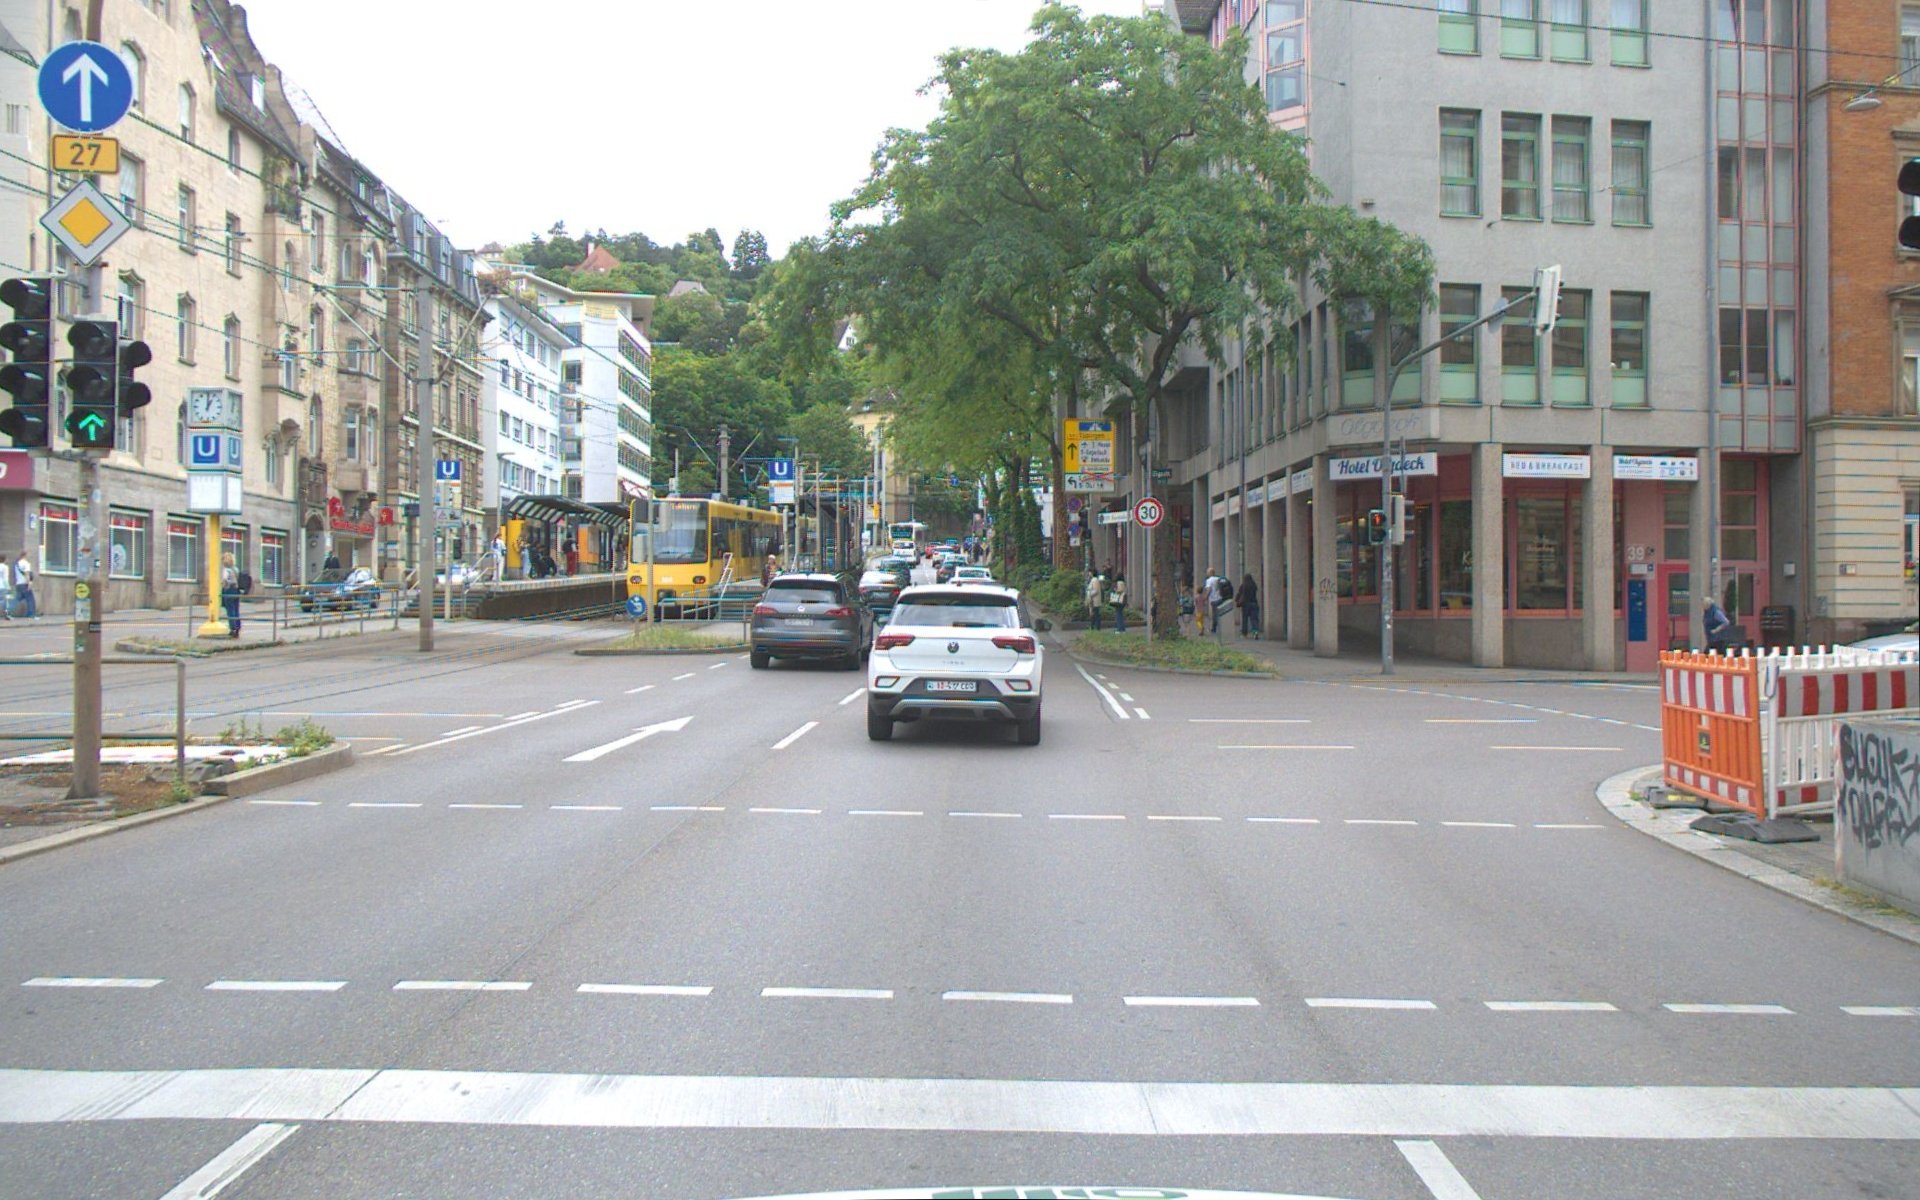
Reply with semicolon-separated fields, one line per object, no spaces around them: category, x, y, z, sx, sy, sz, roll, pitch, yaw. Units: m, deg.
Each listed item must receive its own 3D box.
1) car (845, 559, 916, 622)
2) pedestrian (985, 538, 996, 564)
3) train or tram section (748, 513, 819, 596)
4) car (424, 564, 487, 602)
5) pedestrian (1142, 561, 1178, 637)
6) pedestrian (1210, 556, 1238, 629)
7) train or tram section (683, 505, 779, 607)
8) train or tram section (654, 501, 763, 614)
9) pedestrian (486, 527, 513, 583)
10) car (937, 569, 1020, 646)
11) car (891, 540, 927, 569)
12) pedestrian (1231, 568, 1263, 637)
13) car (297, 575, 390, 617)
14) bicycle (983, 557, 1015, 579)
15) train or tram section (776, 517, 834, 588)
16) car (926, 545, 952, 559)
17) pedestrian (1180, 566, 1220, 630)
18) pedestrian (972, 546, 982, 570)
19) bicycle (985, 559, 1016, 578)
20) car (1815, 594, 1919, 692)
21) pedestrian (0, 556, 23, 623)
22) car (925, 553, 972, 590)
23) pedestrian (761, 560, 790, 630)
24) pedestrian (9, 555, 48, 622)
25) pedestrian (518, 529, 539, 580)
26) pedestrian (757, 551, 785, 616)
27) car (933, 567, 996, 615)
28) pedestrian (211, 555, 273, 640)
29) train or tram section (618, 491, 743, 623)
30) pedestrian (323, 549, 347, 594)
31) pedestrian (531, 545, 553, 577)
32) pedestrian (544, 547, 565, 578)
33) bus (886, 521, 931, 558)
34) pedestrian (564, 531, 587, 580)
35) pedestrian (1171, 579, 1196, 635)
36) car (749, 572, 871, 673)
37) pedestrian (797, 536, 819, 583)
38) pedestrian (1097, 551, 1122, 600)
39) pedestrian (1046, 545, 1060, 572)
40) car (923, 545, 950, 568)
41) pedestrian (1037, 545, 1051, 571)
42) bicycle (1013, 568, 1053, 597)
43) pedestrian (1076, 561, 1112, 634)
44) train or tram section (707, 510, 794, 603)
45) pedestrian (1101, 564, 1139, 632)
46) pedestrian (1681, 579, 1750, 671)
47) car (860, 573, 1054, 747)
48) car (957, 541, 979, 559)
car;-2.399;-0.328;50.609;1.872;1.718;4.002;2;2;1
pedestrian;2.414;-3.859;131.214;0.746;2.049;0.839;1;0;4
train or tram section;-8.388;-2.173;79.250;2.756;3.730;5.903;1;1;-1
car;-21.747;-0.716;71.404;1.527;1.550;3.600;1;0;1
pedestrian;4.998;-0.039;41.435;0.707;1.834;0.834;-2;3;-5
pedestrian;6.700;-0.190;41.978;0.508;1.820;0.764;1;0;-5
train or tram section;-8.482;-1.639;61.870;2.777;3.582;5.752;1;1;-1
train or tram section;-8.445;-1.436;56.118;2.777;3.582;5.752;1;1;-1
pedestrian;-14.594;-1.430;52.456;0.674;1.741;0.662;0;1;-2
car;0.410;0.155;40.243;1.847;1.713;4.160;1;0;-1
car;-3.824;-3.447;125.555;2.315;2.049;5.150;1;0;2
pedestrian;7.079;0.056;40.733;0.745;1.640;0.619;-1;3;11
car;-21.408;-0.166;57.598;1.597;1.399;3.785;-1;1;3
bicycle;2.350;-1.946;100.349;1.841;1.288;0.765;1;0;10
train or tram section;-8.583;-2.629;92.290;2.756;3.730;6.750;1;1;-2
car;-1.958;-4.468;154.385;1.548;1.193;3.681;1;0;14
pedestrian;6.077;-0.051;41.912;0.819;1.590;0.763;1;0;-5
pedestrian;1.440;-3.555;140.689;0.746;2.049;0.839;1;0;4
bicycle;2.494;-1.944;101.843;1.841;1.157;0.808;1;0;5
car;16.065;0.656;26.414;4.076;1.453;1.848;0;1;-13
pedestrian;-25.197;-0.290;43.404;0.765;1.735;0.724;0;1;5
car;-0.735;-1.689;98.414;2.319;2.049;5.142;1;0;-6
pedestrian;-4.612;-0.134;41.371;0.622;1.741;0.871;0;1;-1
pedestrian;-24.457;-0.296;43.446;0.590;1.735;0.710;0;1;5
pedestrian;-14.729;-1.556;56.448;0.624;1.741;0.689;0;1;-10
pedestrian;-5.152;-0.461;45.085;0.671;1.741;0.712;0;1;-1
car;0.133;-0.362;62.830;1.849;1.713;4.154;1;0;-7
pedestrian;-14.783;-0.058;34.053;0.858;1.735;0.811;1;1;28
train or tram section;-8.400;-1.309;50.352;2.777;3.742;5.752;1;1;-1
pedestrian;-25.089;-1.152;66.427;0.624;1.793;0.833;0;1;-43
pedestrian;-15.039;-1.415;59.478;0.622;1.127;0.690;0;1;-1
pedestrian;-14.923;-1.394;60.923;0.622;1.127;0.690;0;1;-1
bus;-4.913;-5.753;159.677;3.302;3.118;13.329;1;0;2
pedestrian;-14.072;-1.622;60.568;0.614;1.793;0.846;0;1;0
pedestrian;5.458;0.173;40.383;0.462;1.357;0.519;1;0;-5
car;-2.651;0.347;30.049;1.953;1.664;3.999;1;1;-2
pedestrian;-5.704;-1.521;62.142;0.703;1.761;0.671;1;0;0
pedestrian;5.718;-0.951;63.292;0.747;1.813;0.847;-2;3;-6
pedestrian;5.805;-2.595;103.076;0.627;1.636;0.584;1;0;-21
car;-1.916;-3.476;132.384;1.848;1.713;4.157;1;0;-5
pedestrian;5.229;-2.603;102.821;0.627;1.643;0.584;1;0;-21
bicycle;3.022;-0.720;68.399;1.586;1.147;0.613;-2;1;3
pedestrian;3.442;-0.074;42.512;0.680;1.808;0.689;-4;1;-5
train or tram section;-8.496;-1.792;67.652;2.777;3.582;5.752;1;1;-1
pedestrian;4.178;-0.052;43.209;0.819;1.733;0.764;-2;1;-5
pedestrian;14.702;0.460;32.186;1.102;1.742;0.853;1;1;34
car;0.086;0.534;17.810;1.799;1.611;4.159;1;1;4
car;0.860;-5.340;176.687;1.845;1.713;4.164;1;0;6
